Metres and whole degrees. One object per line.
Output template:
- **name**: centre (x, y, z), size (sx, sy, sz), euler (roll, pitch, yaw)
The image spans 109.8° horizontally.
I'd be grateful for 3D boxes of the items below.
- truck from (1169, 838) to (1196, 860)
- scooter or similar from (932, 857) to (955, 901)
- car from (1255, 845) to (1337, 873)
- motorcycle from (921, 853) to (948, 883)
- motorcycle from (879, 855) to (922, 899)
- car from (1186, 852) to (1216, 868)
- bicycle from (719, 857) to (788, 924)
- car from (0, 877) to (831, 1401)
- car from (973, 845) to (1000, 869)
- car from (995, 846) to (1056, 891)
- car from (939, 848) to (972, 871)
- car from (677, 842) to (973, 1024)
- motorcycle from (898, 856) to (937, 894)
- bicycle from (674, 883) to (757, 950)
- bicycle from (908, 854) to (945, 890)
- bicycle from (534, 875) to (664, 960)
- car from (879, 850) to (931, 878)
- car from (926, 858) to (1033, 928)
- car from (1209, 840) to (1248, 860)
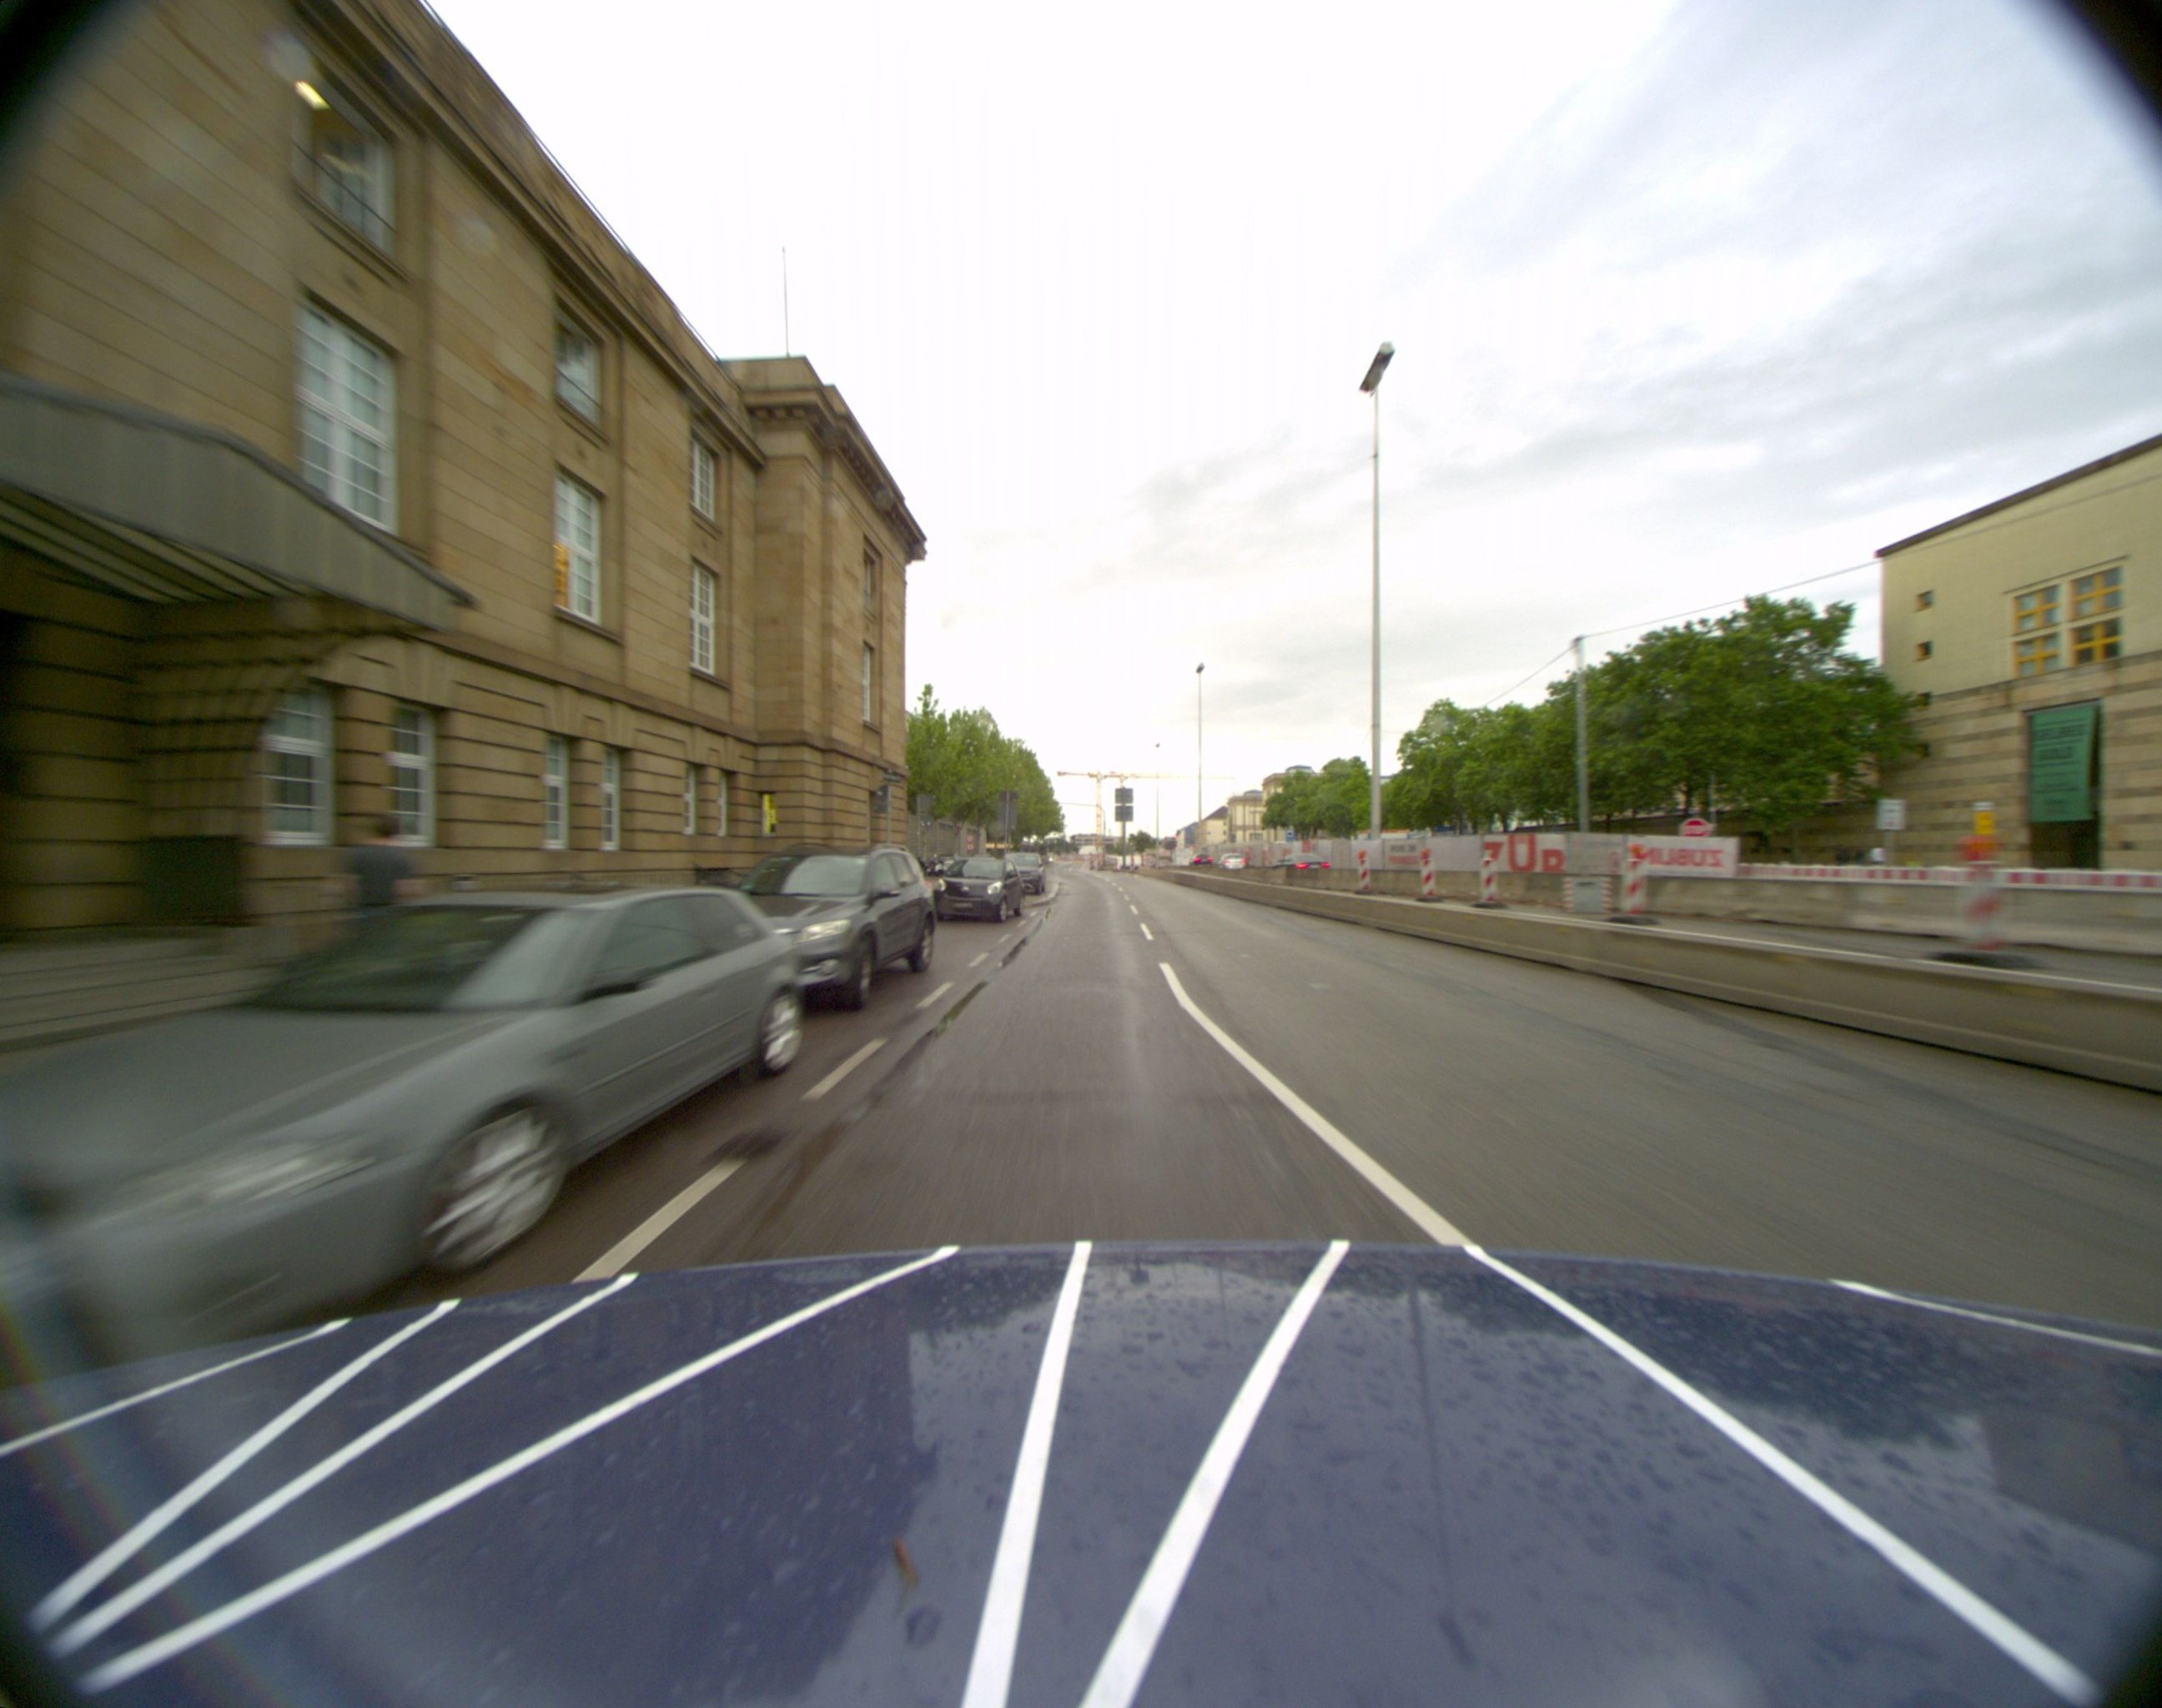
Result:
- **truck**: centre (12.659, -0.612, 95.235), size (2.404, 2.703, 7.354), euler (0, 0, 0)
- **scooter or similar**: centre (-4.193, 0.743, 23.162), size (0.435, 1.285, 1.255), euler (-1, 1, -21)
- **car**: centre (10.791, 0.234, 38.522), size (1.780, 1.255, 4.761), euler (-2, 0, -14)
- **motorcycle**: centre (-10.399, 0.972, 54.035), size (0.750, 1.893, 2.590), euler (-20, 1, 2)
- **motorcycle**: centre (-5.899, 0.731, 24.961), size (0.668, 1.318, 2.135), euler (-1, 1, 6)
- **car**: centre (12.101, 0.601, 77.046), size (1.926, 1.521, 4.758), euler (0, 0, -5)
- **bicycle**: centre (-6.767, 0.720, 15.790), size (0.732, 1.261, 1.758), euler (0, 1, -2)
- **car**: centre (-3.070, 0.962, 4.260), size (1.936, 1.470, 3.703), euler (-1, 1, 3)
- **car**: centre (-6.538, 0.190, 52.573), size (1.692, 1.486, 3.618), euler (-1, 2, -5)
- **car**: centre (-2.077, 0.525, 29.650), size (1.876, 1.609, 4.404), euler (1, 0, 2)
- **car**: centre (-8.888, 0.393, 53.987), size (1.584, 1.528, 3.021), euler (1, 1, 5)
- **car**: centre (-2.822, 0.753, 9.566), size (1.998, 1.771, 4.189), euler (-1, 1, 5)
- **motorcycle**: centre (-5.823, 0.733, 27.124), size (0.808, 1.291, 1.799), euler (-1, 1, 6)
- **bicycle**: centre (-6.635, 1.110, 13.901), size (0.714, 1.045, 1.740), euler (-1, 1, -2)
- **bicycle**: centre (-6.048, 0.695, 29.875), size (1.105, 1.310, 1.858), euler (-1, 1, -1)
- **bicycle**: centre (-6.843, 0.863, 10.904), size (0.584, 1.032, 1.759), euler (-1, 1, 6)
- **car**: centre (-12.447, 0.682, 54.092), size (1.959, 1.673, 4.495), euler (-7, -1, 8)
- **car**: centre (-2.372, 0.867, 18.477), size (1.762, 1.406, 3.153), euler (3, 2, 8)
- **car**: centre (11.626, -0.288, 60.117), size (1.999, 1.521, 3.998), euler (0, 0, -5)
